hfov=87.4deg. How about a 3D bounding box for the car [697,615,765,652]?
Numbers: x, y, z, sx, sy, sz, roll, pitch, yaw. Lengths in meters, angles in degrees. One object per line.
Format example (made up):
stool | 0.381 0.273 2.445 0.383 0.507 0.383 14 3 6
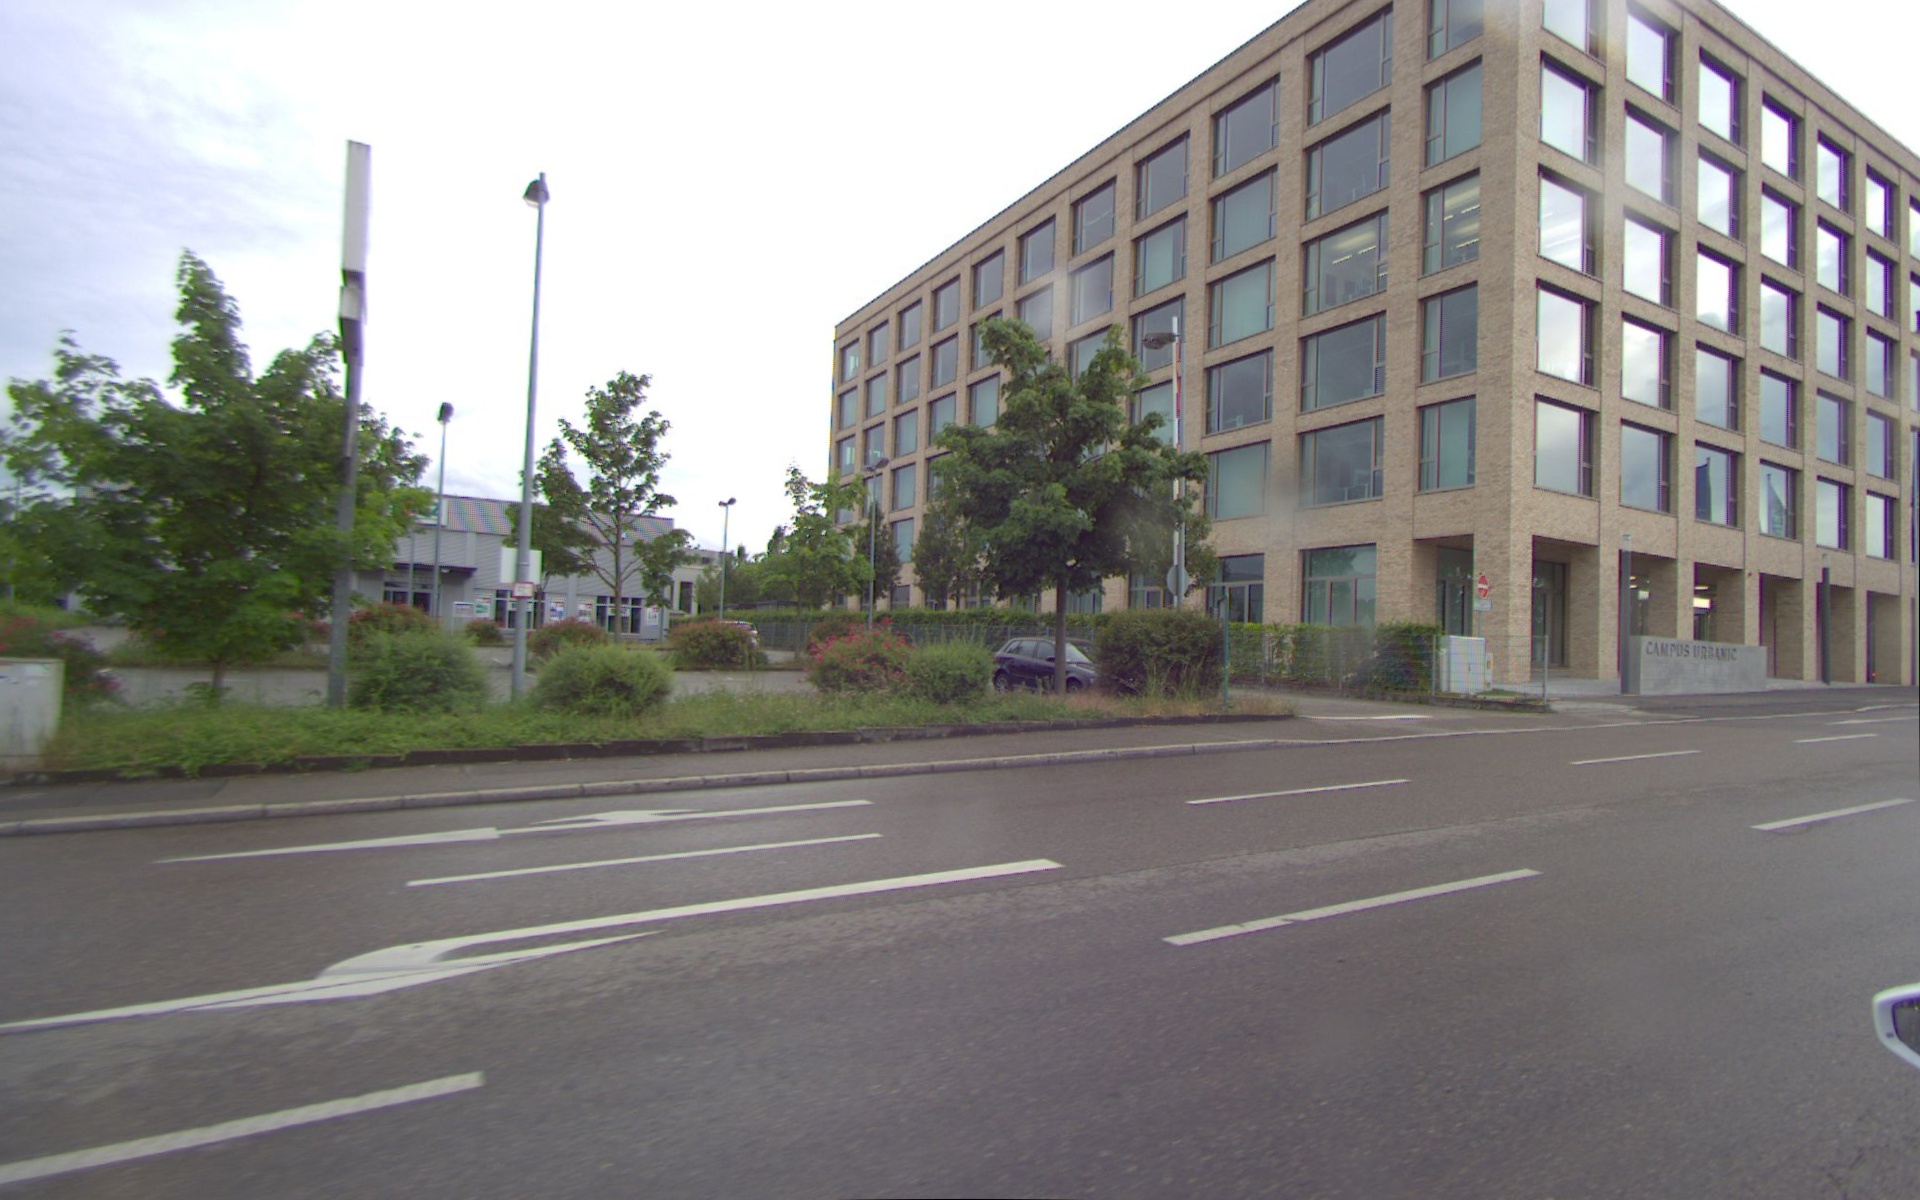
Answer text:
car | -10.855 1.562 47.501 1.977 1.617 3.966 2 -1 -31

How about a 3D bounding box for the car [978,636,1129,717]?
car | 1.926 1.577 21.593 1.525 1.483 3.471 1 -1 -30
